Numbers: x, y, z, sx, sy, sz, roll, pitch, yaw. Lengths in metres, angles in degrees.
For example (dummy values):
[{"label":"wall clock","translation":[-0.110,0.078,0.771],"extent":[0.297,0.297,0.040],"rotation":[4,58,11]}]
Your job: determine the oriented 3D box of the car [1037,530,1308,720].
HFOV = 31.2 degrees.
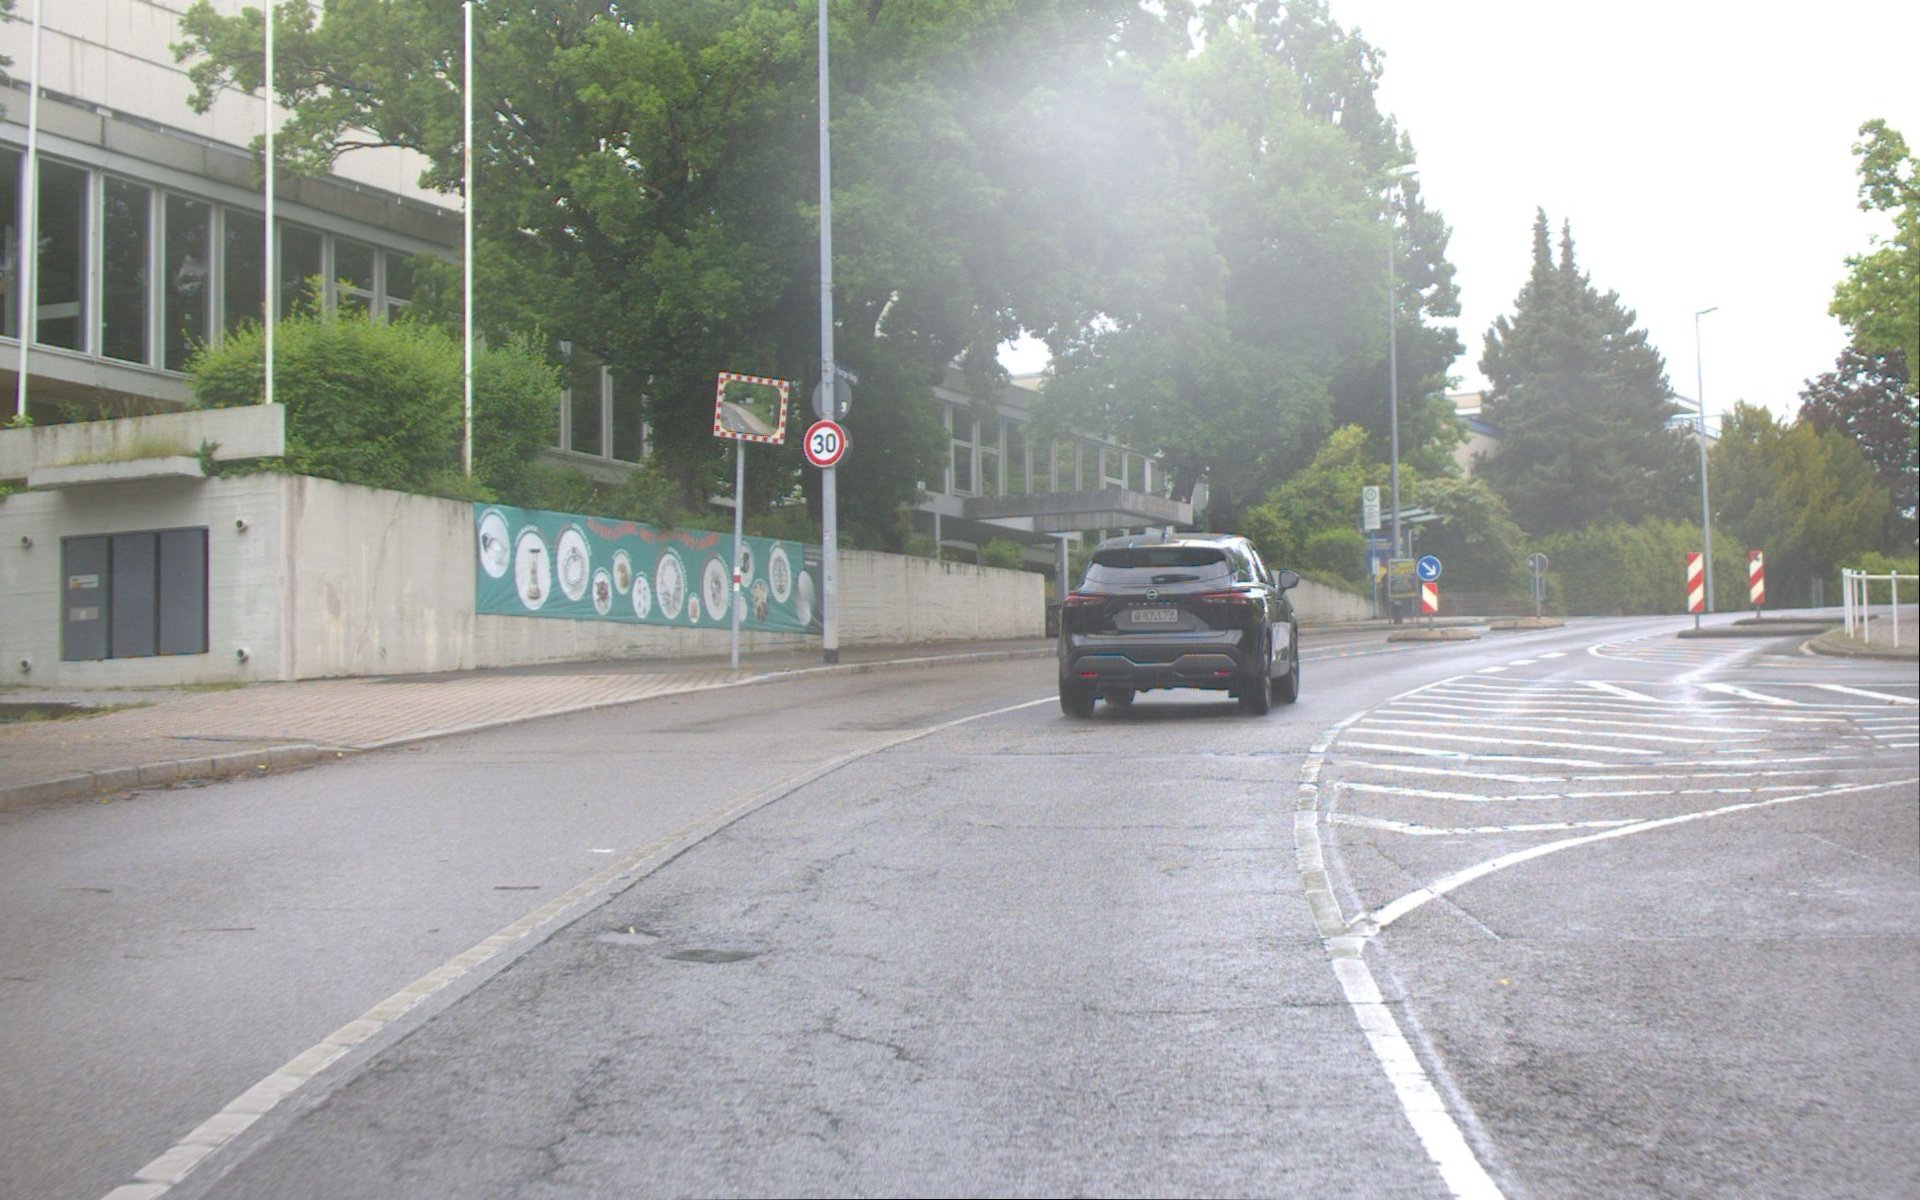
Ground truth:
[{"label":"car","translation":[2.003,0.180,31.268],"extent":[1.929,1.607,3.998],"rotation":[0,1,11]}]
